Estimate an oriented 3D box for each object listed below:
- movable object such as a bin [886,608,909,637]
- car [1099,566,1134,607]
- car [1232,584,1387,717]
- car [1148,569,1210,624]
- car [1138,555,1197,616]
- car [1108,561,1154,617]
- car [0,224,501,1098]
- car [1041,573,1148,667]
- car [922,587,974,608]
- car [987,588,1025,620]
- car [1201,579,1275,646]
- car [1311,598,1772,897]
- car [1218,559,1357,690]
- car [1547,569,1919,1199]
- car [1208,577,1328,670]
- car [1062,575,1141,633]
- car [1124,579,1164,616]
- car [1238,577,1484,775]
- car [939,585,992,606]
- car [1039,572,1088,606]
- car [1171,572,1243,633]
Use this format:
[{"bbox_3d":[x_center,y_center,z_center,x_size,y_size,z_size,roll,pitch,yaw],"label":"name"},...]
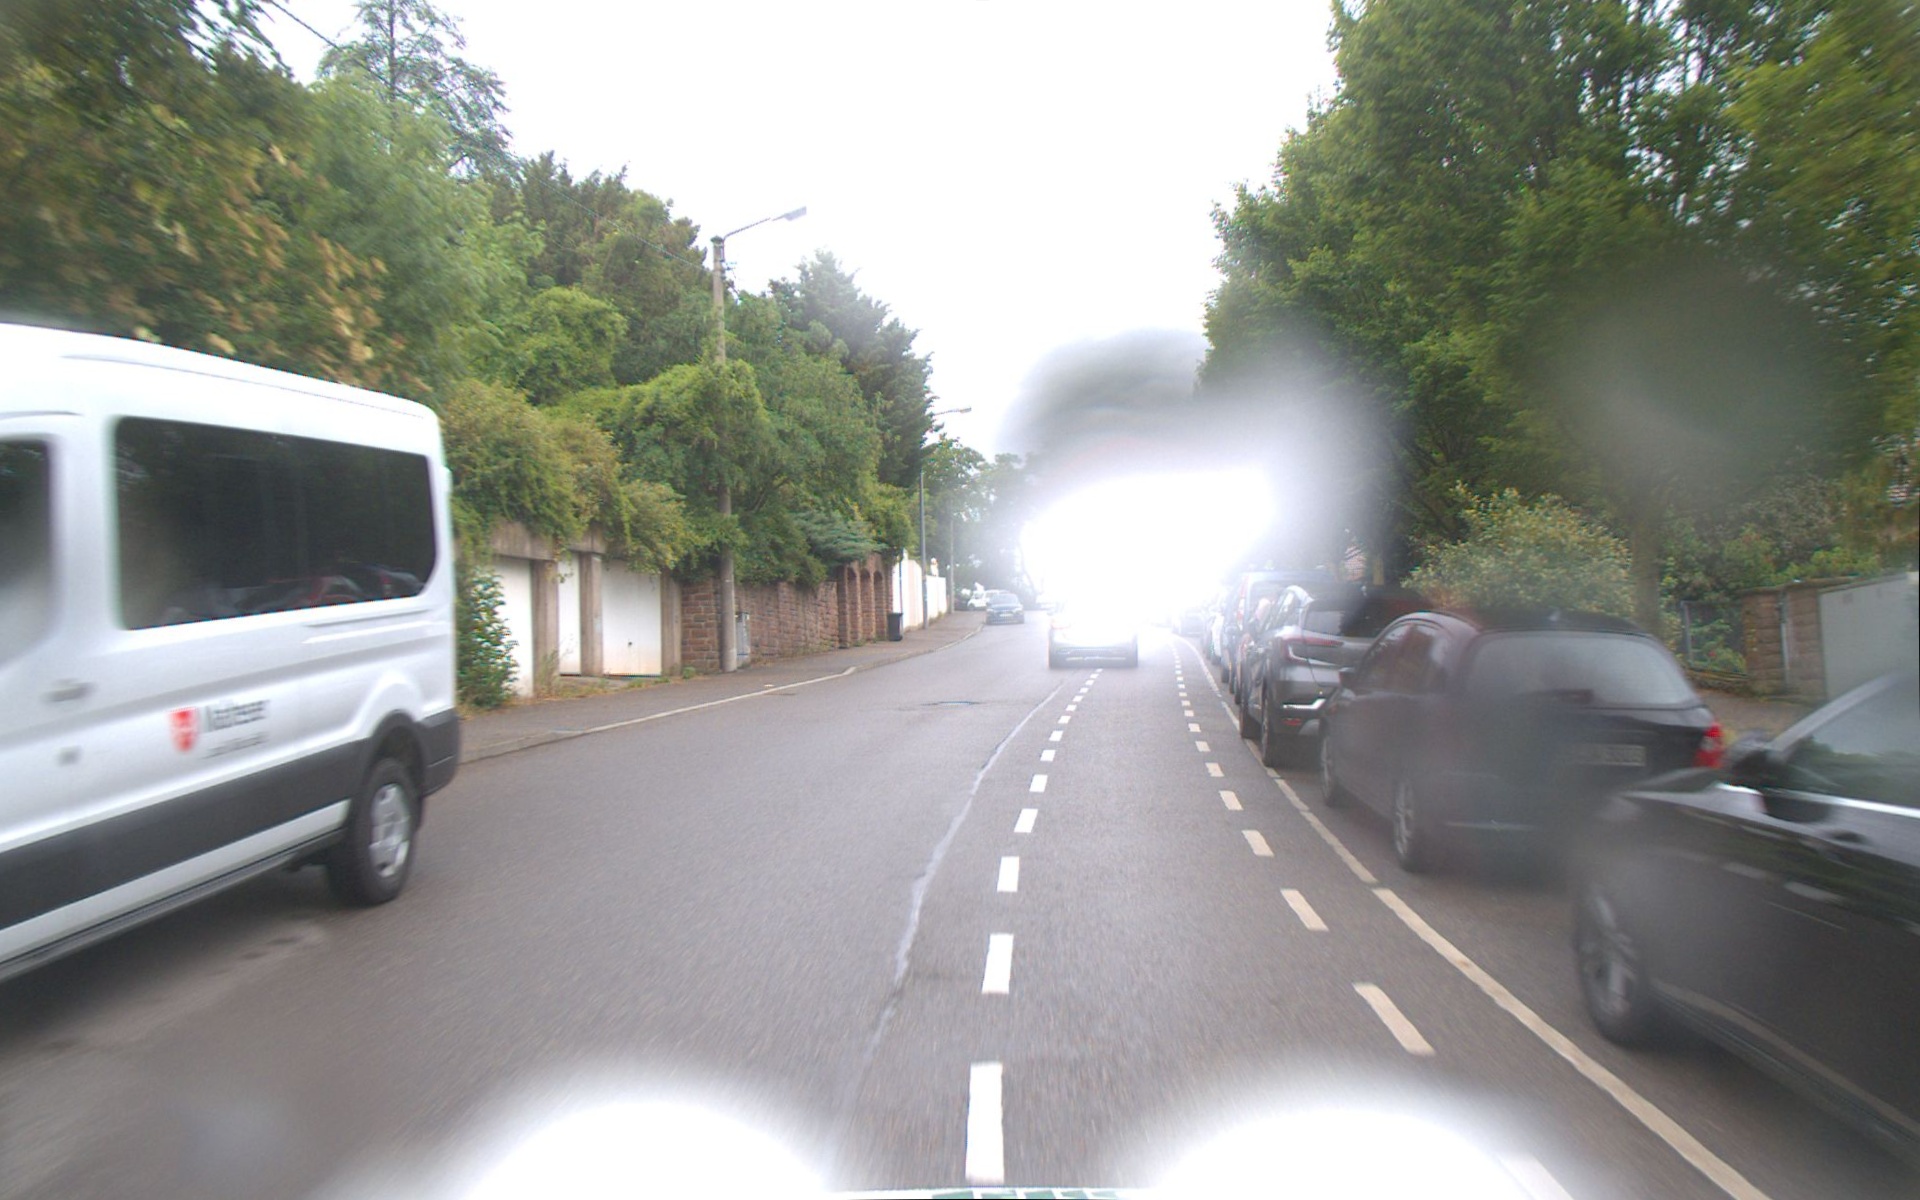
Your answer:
[{"bbox_3d":[-2.089,0.759,55.344,0.644,0.935,0.678,-1,0,5],"label":"movable object such as a bin"},{"bbox_3d":[10.163,-0.894,107.850,2.021,2.538,4.761,1,1,3],"label":"car"},{"bbox_3d":[4.329,0.560,20.964,1.613,1.507,4.023,1,0,7],"label":"car"},{"bbox_3d":[8.590,-0.134,65.222,1.952,2.088,5.123,0,0,2],"label":"car"},{"bbox_3d":[9.098,-0.650,72.890,2.128,2.536,6.036,1,0,3],"label":"car"},{"bbox_3d":[9.457,-0.626,92.009,2.080,2.937,5.771,1,1,2],"label":"car"},{"bbox_3d":[-3.797,0.176,6.285,2.050,2.594,6.100,-1,0,3],"label":"car"},{"bbox_3d":[2.730,0.376,33.369,1.982,1.738,4.218,-1,0,5],"label":"car"},{"bbox_3d":[-1.085,-0.243,145.276,1.954,1.727,4.597,0,1,-43],"label":"car"},{"bbox_3d":[2.210,0.191,79.088,1.712,1.381,4.426,-3,1,2],"label":"car"},{"bbox_3d":[6.943,0.277,41.586,1.657,1.598,3.925,0,0,7],"label":"car"},{"bbox_3d":[3.369,0.735,10.448,1.608,1.449,4.289,1,0,3],"label":"car"},{"bbox_3d":[5.061,0.321,26.044,1.740,1.884,4.428,0,1,6],"label":"car"},{"bbox_3d":[3.062,0.736,4.003,1.739,1.580,4.729,1,0,2],"label":"car"},{"bbox_3d":[5.788,0.401,31.499,1.746,1.637,4.226,0,1,4],"label":"car"},{"bbox_3d":[4.405,0.153,52.093,1.954,1.738,3.997,0,-1,-3],"label":"car"},{"bbox_3d":[9.526,-0.153,85.838,1.691,1.816,4.277,3,1,3],"label":"car"},{"bbox_3d":[3.653,0.605,15.728,1.678,1.583,4.166,2,1,6],"label":"car"},{"bbox_3d":[0.461,-0.371,143.675,4.419,1.727,1.957,2,1,44],"label":"car"},{"bbox_3d":[8.173,-0.905,131.053,2.096,2.571,4.467,1,1,-22],"label":"car"},{"bbox_3d":[7.734,0.054,52.068,1.743,1.814,4.681,-1,1,2],"label":"car"}]
